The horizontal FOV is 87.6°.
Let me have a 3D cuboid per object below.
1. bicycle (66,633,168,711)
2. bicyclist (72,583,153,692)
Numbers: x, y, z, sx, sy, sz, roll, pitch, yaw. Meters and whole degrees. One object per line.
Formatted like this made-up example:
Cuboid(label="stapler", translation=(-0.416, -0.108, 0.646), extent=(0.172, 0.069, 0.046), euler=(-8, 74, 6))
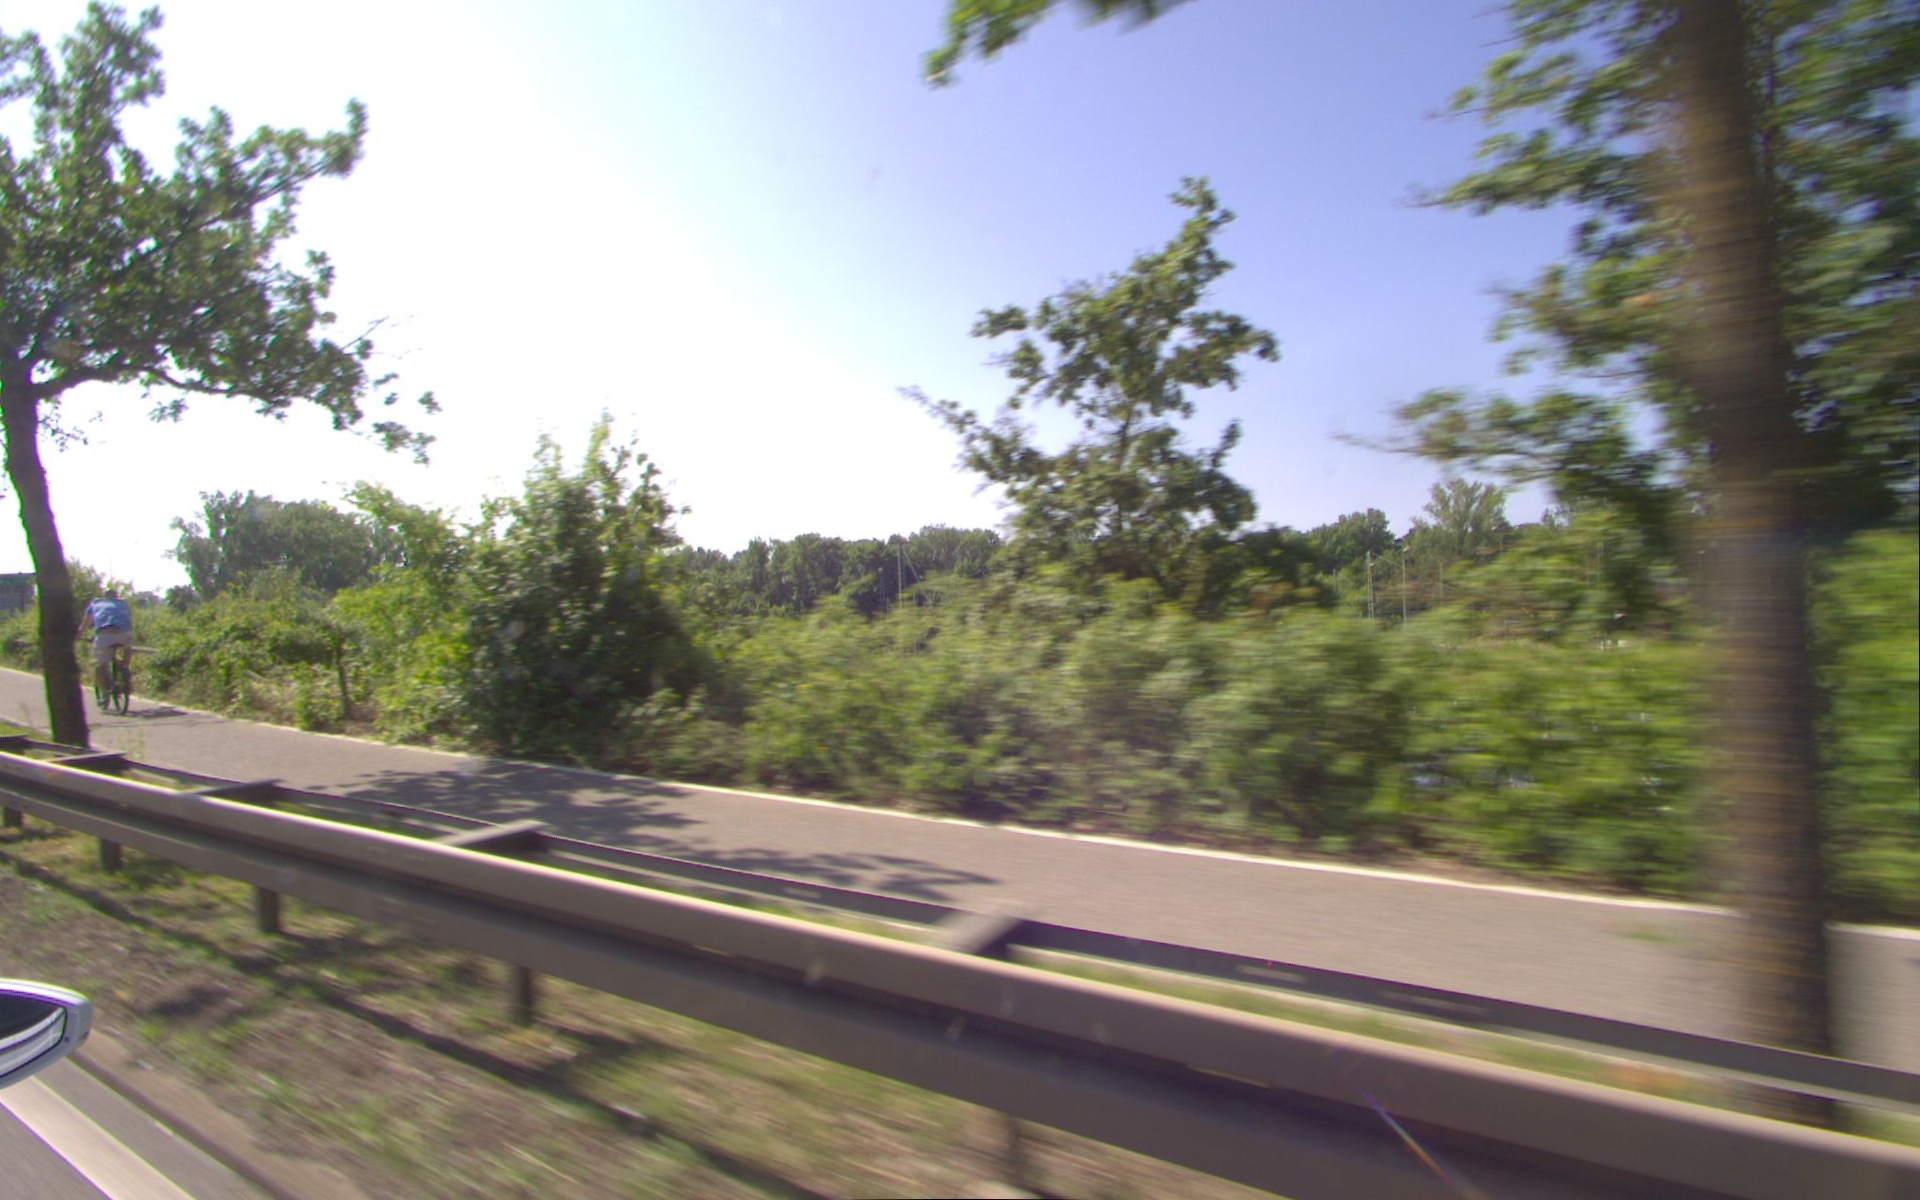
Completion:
Cuboid(label="bicycle", translation=(-12.363, 1.036, 14.668), extent=(1.823, 1.033, 0.699), euler=(-2, 2, 37))
Cuboid(label="bicyclist", translation=(-12.472, 0.546, 14.736), extent=(0.793, 1.540, 0.655), euler=(-2, 2, 37))
